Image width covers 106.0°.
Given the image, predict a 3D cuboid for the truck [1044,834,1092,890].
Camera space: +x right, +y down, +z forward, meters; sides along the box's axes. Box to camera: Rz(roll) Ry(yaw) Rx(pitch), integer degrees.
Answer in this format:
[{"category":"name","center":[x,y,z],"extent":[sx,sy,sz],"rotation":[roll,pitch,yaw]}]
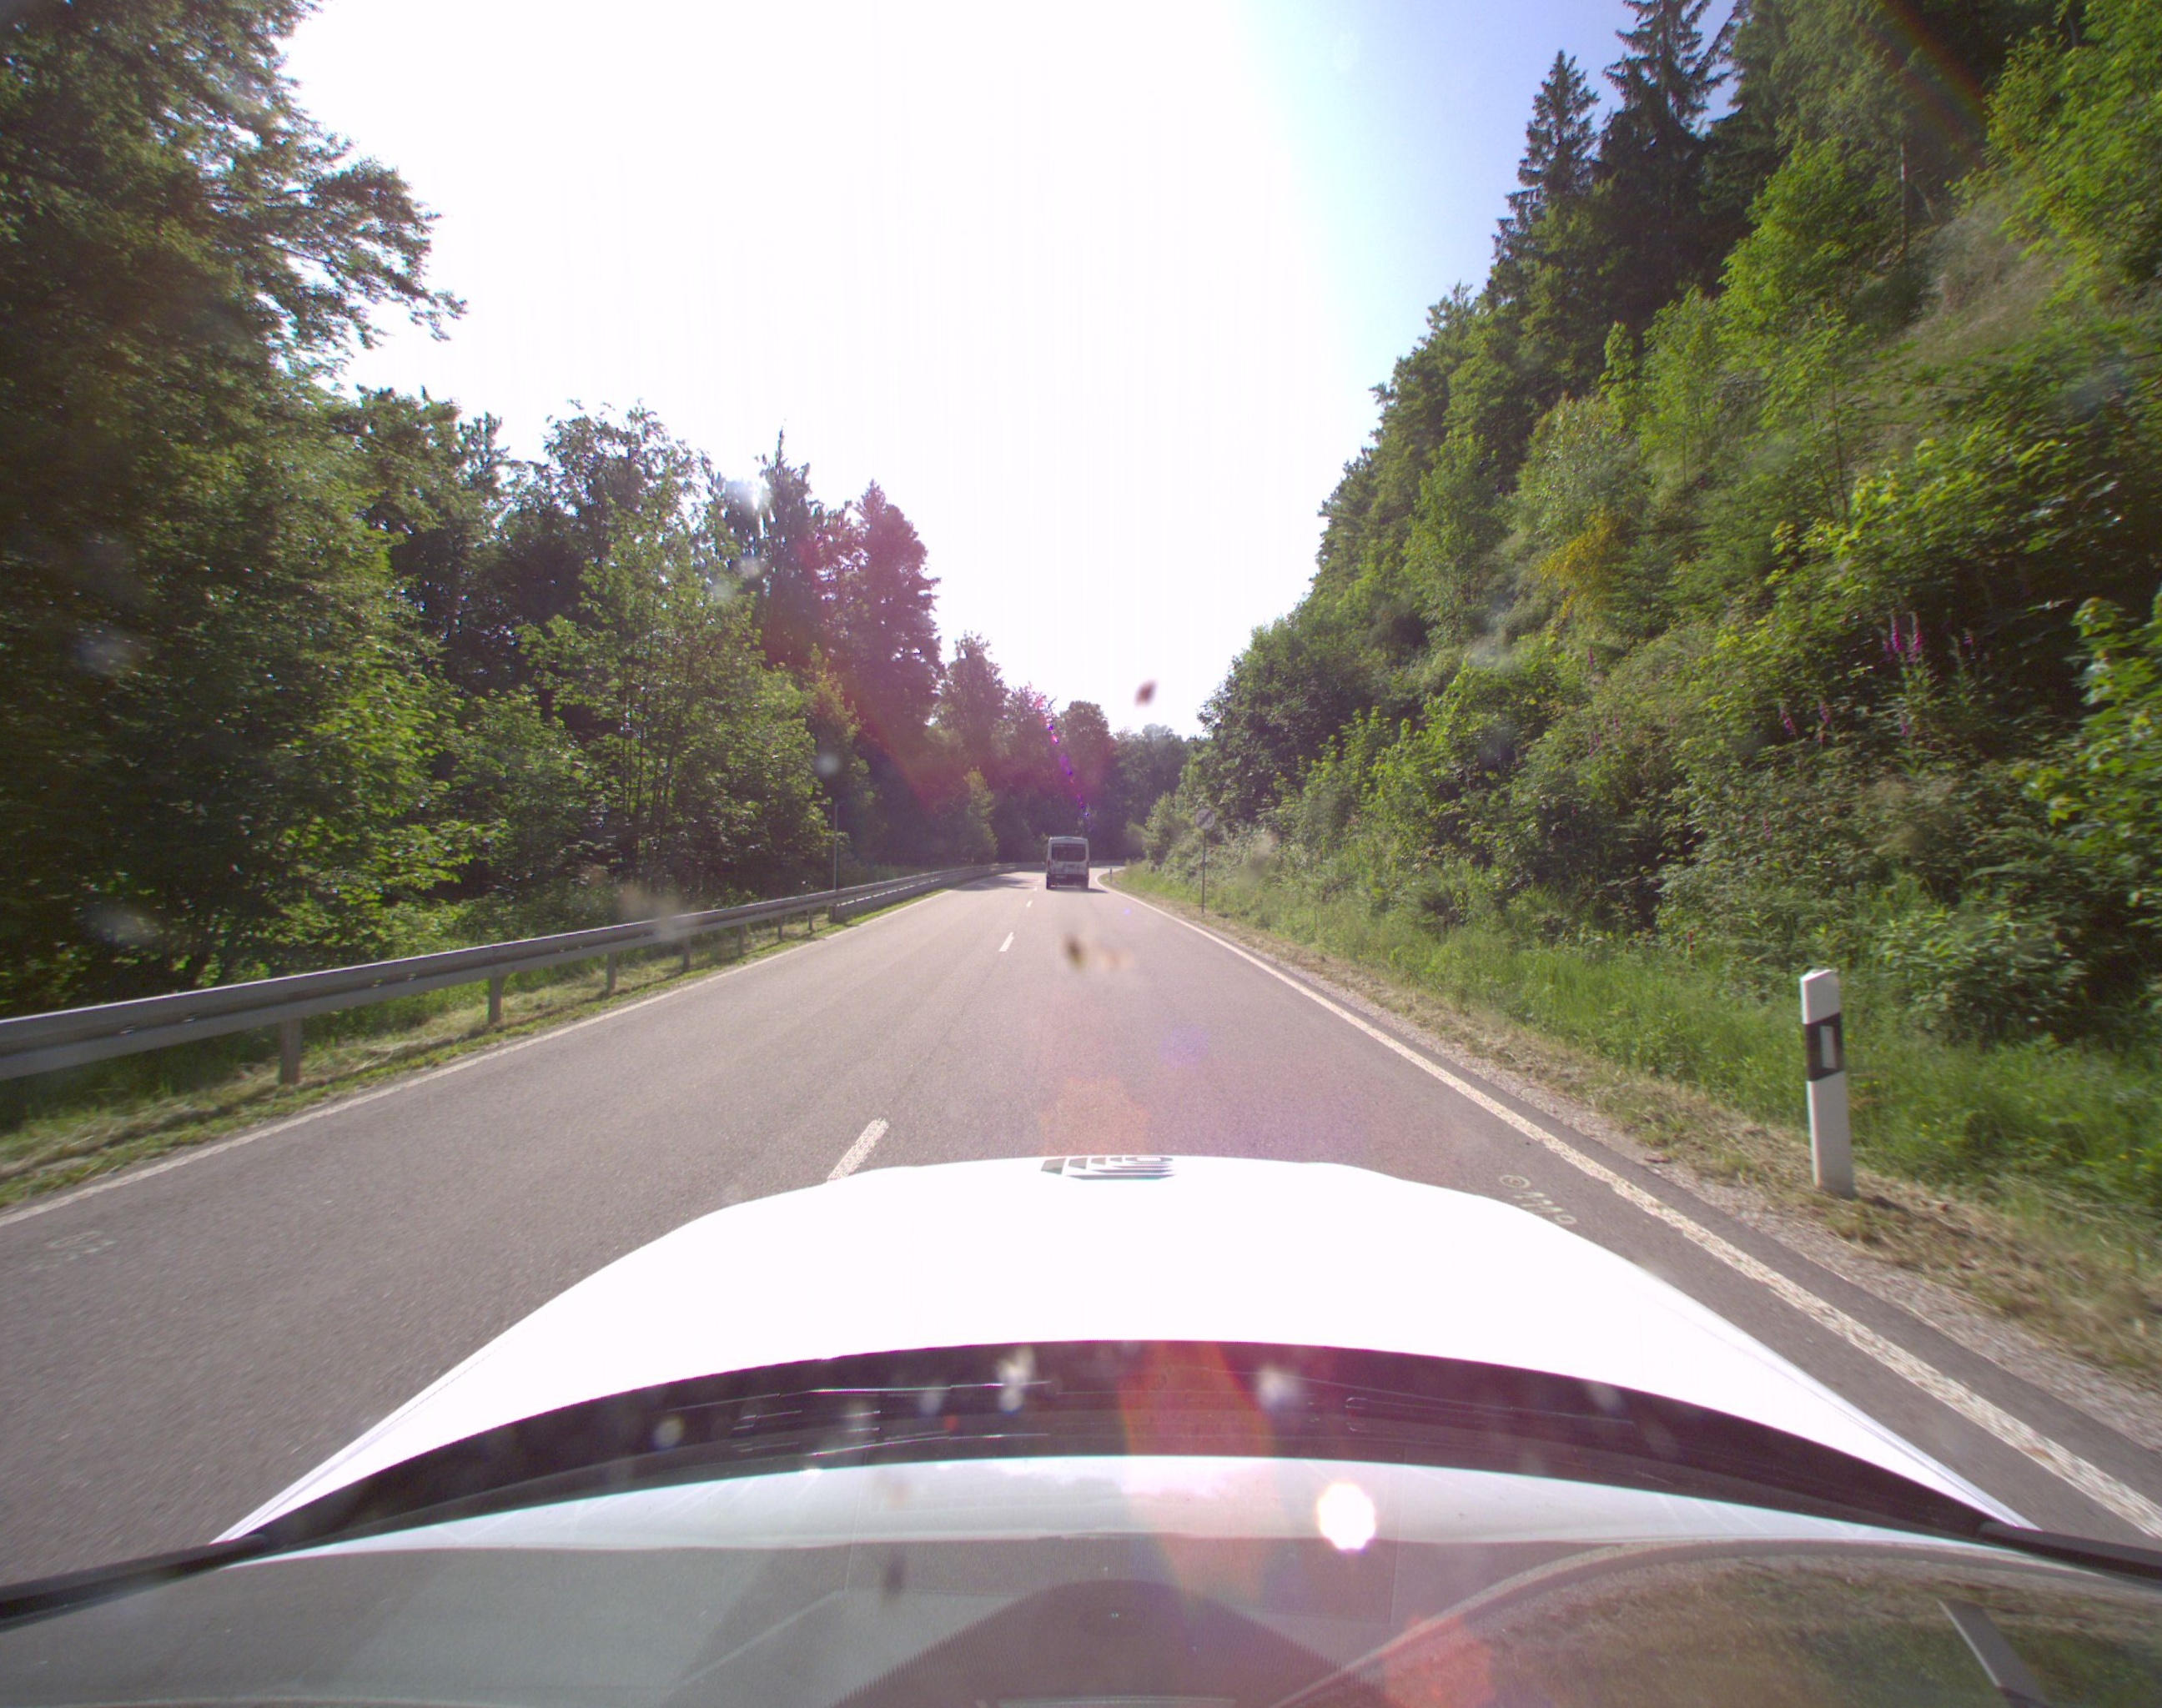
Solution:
[{"category":"truck","center":[-0.705,0.370,39.938],"extent":[2.111,2.498,5.353],"rotation":[1,0,-3]}]
